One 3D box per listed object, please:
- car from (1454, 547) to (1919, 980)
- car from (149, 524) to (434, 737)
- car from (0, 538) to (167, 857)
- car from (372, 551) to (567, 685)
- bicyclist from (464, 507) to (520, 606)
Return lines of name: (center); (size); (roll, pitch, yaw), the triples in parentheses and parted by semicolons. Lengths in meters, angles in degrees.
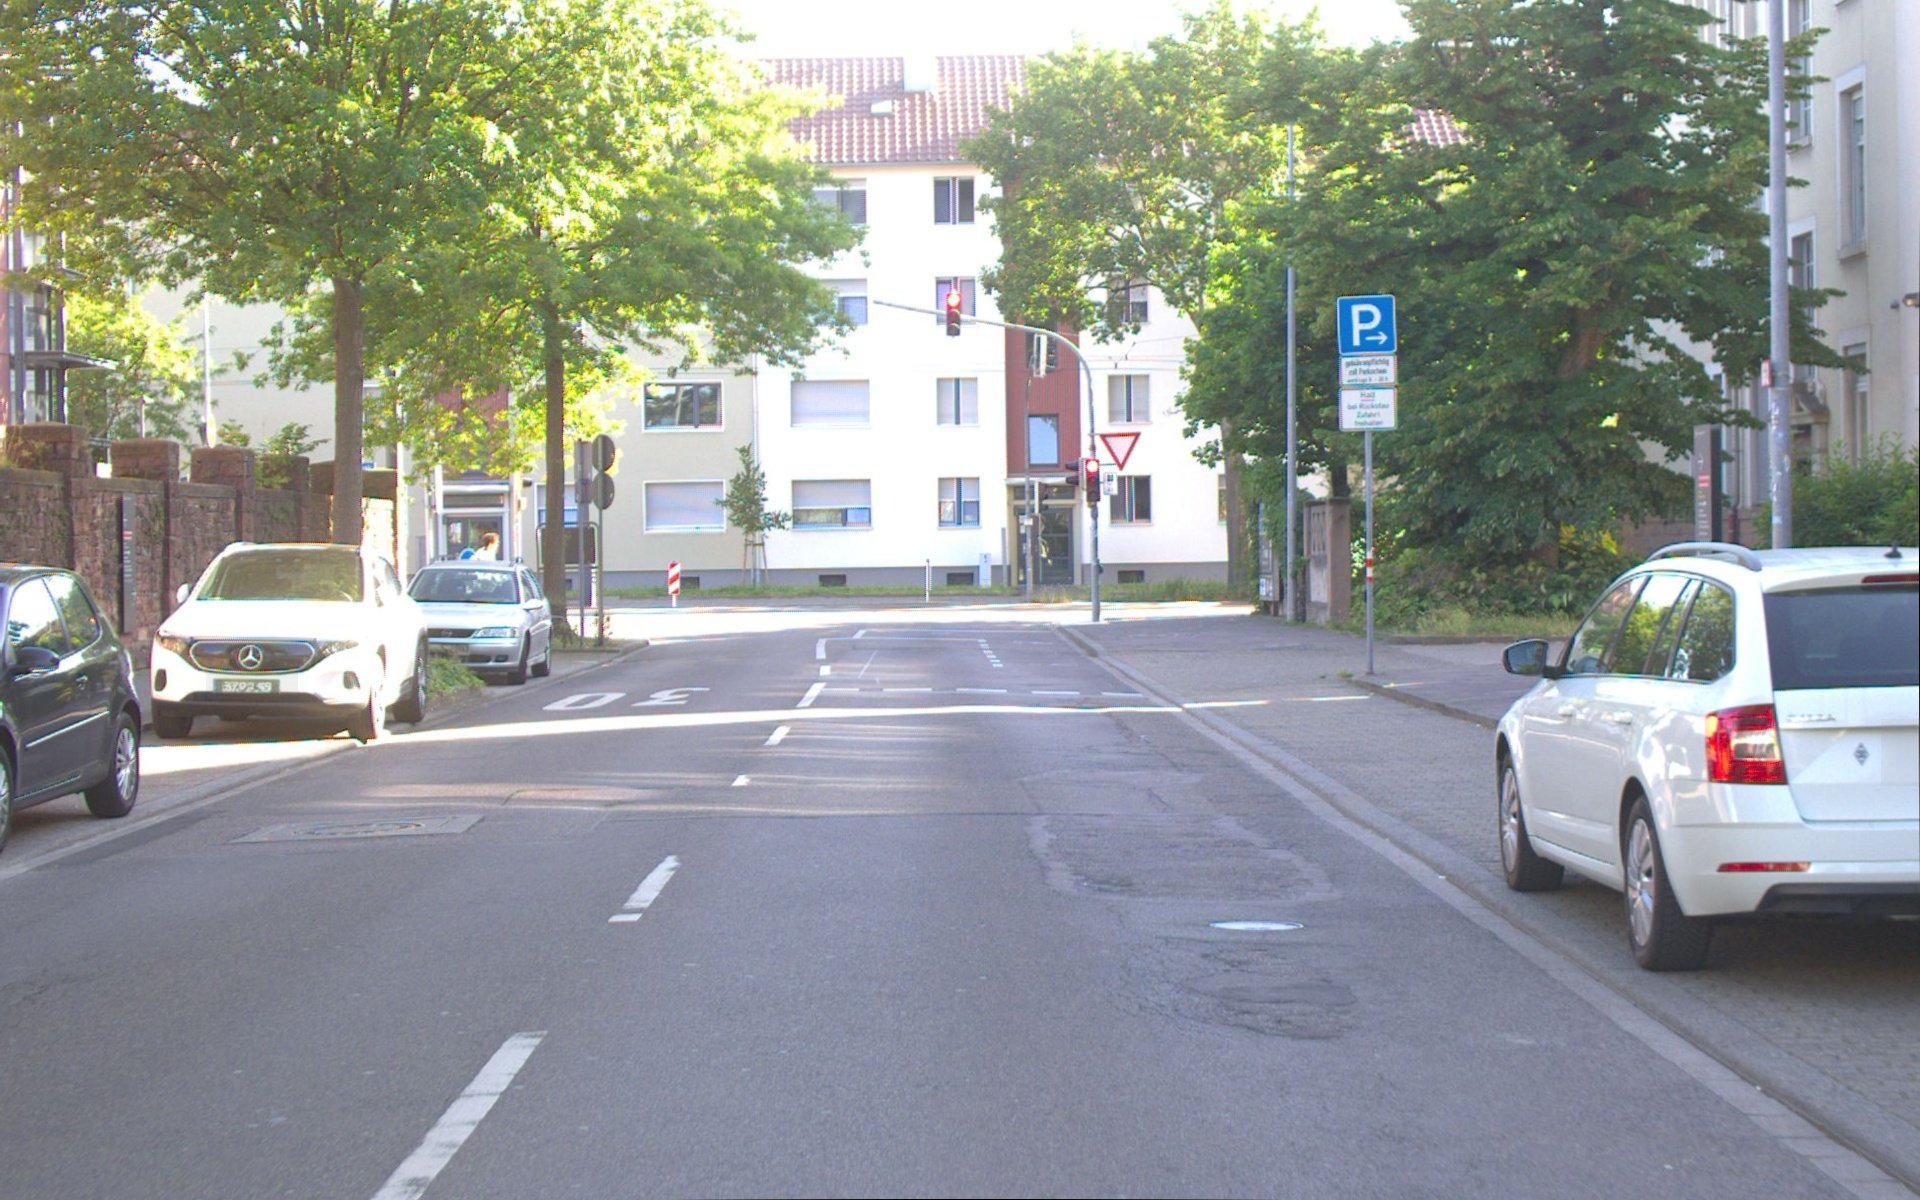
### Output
car: (3.176, 0.481, 13.083); (1.832, 1.318, 4.496); (-1, 1, -1)
car: (-5.646, 0.198, 29.523); (1.720, 1.678, 4.351); (-1, 1, -2)
car: (-5.648, 0.468, 18.512); (1.737, 1.587, 4.107); (0, 1, 1)
car: (-5.804, 0.172, 41.136); (1.726, 1.470, 4.478); (1, 1, -1)
bicyclist: (-8.307, -0.777, 61.028); (0.787, 1.751, 0.612); (-1, 1, -42)
